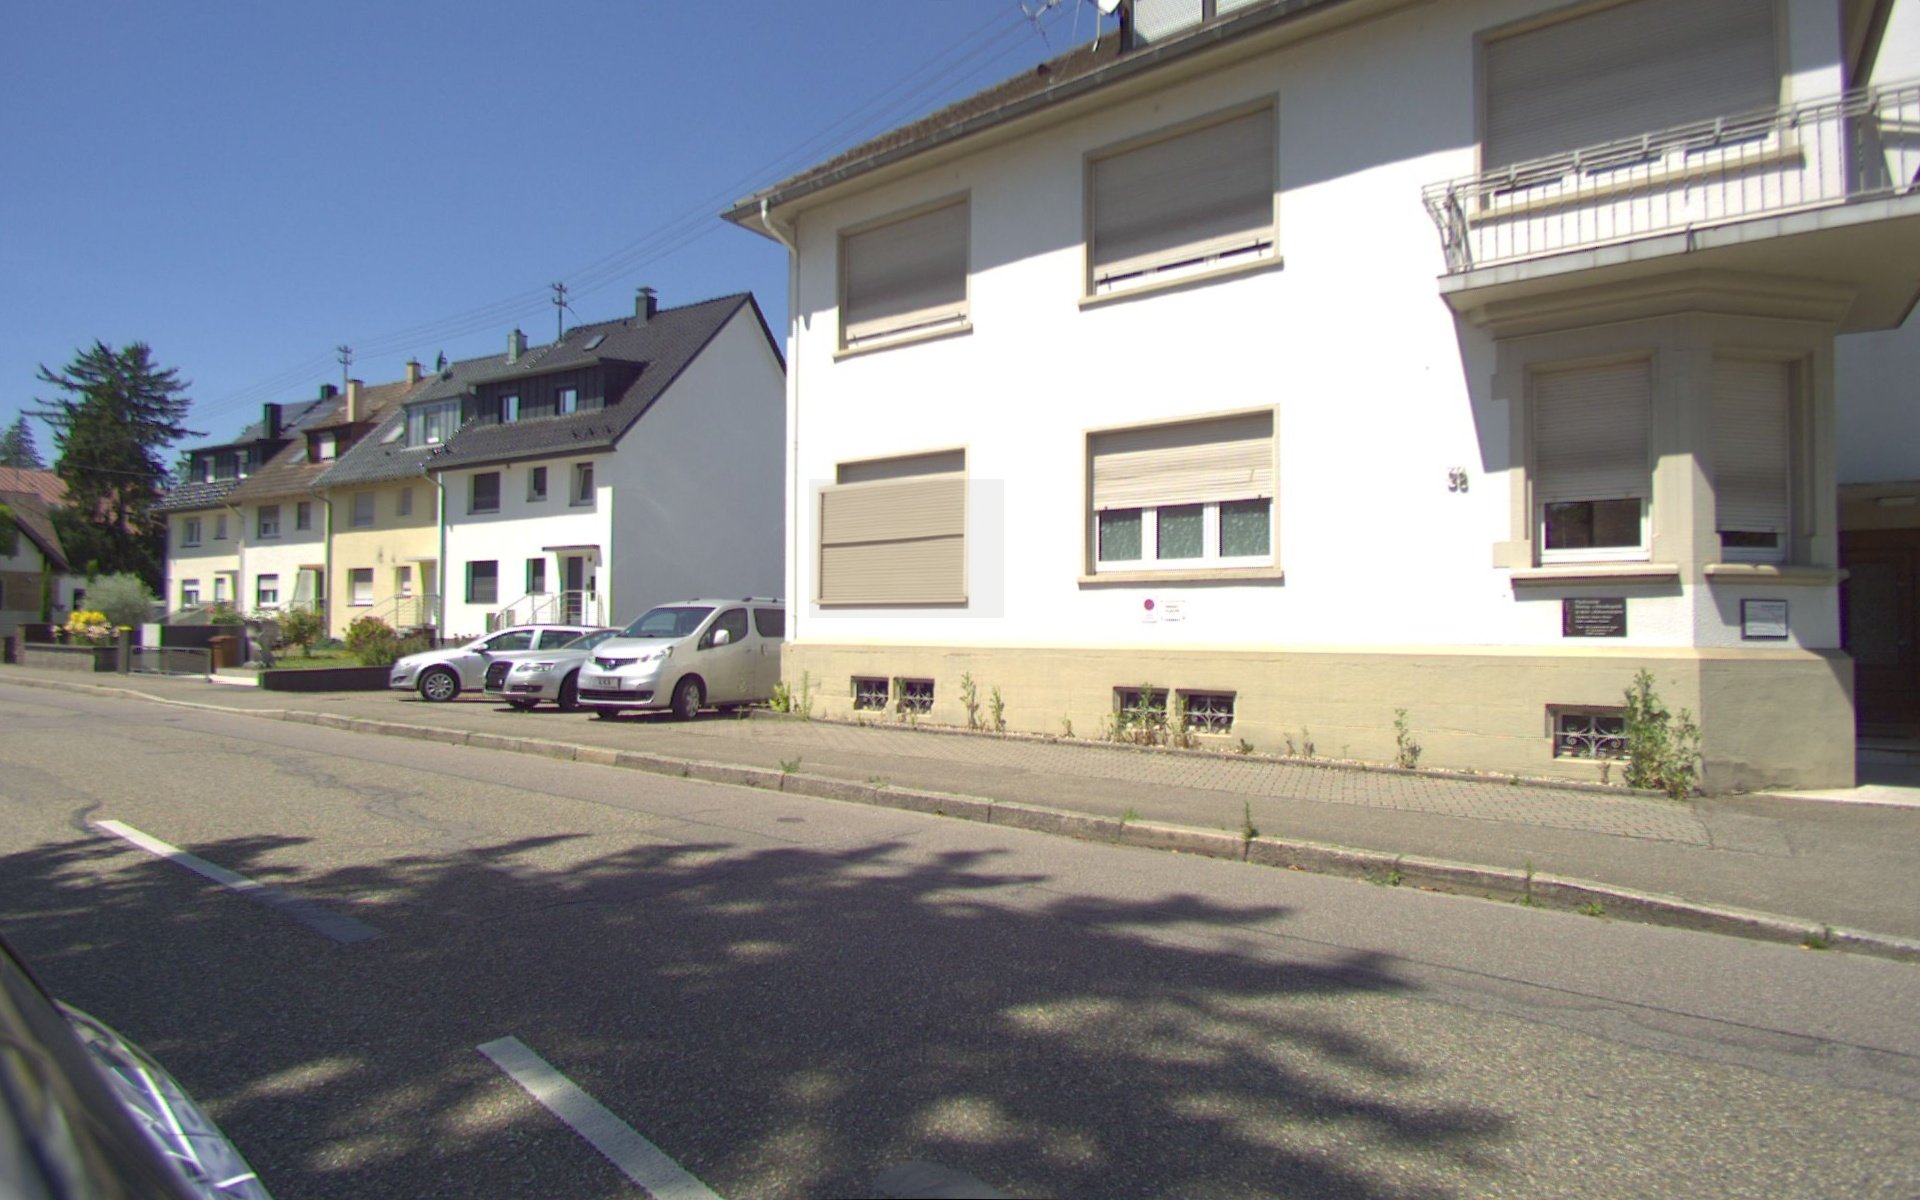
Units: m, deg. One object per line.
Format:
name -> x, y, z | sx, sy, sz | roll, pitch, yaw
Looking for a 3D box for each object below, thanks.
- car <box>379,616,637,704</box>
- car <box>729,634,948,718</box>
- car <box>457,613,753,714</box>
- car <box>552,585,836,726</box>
car -> -8.446, 1.166, 19.212 | 4.201, 1.507, 1.882 | 3, -4, -22
car -> -2.395, 1.639, 21.112 | 1.973, 1.507, 4.429 | -2, -7, 37
car -> -5.937, 1.104, 17.432 | 1.973, 1.507, 4.429 | -2, -5, 37
car -> -3.987, 0.888, 15.963 | 1.842, 1.891, 4.322 | -1, -4, 29
